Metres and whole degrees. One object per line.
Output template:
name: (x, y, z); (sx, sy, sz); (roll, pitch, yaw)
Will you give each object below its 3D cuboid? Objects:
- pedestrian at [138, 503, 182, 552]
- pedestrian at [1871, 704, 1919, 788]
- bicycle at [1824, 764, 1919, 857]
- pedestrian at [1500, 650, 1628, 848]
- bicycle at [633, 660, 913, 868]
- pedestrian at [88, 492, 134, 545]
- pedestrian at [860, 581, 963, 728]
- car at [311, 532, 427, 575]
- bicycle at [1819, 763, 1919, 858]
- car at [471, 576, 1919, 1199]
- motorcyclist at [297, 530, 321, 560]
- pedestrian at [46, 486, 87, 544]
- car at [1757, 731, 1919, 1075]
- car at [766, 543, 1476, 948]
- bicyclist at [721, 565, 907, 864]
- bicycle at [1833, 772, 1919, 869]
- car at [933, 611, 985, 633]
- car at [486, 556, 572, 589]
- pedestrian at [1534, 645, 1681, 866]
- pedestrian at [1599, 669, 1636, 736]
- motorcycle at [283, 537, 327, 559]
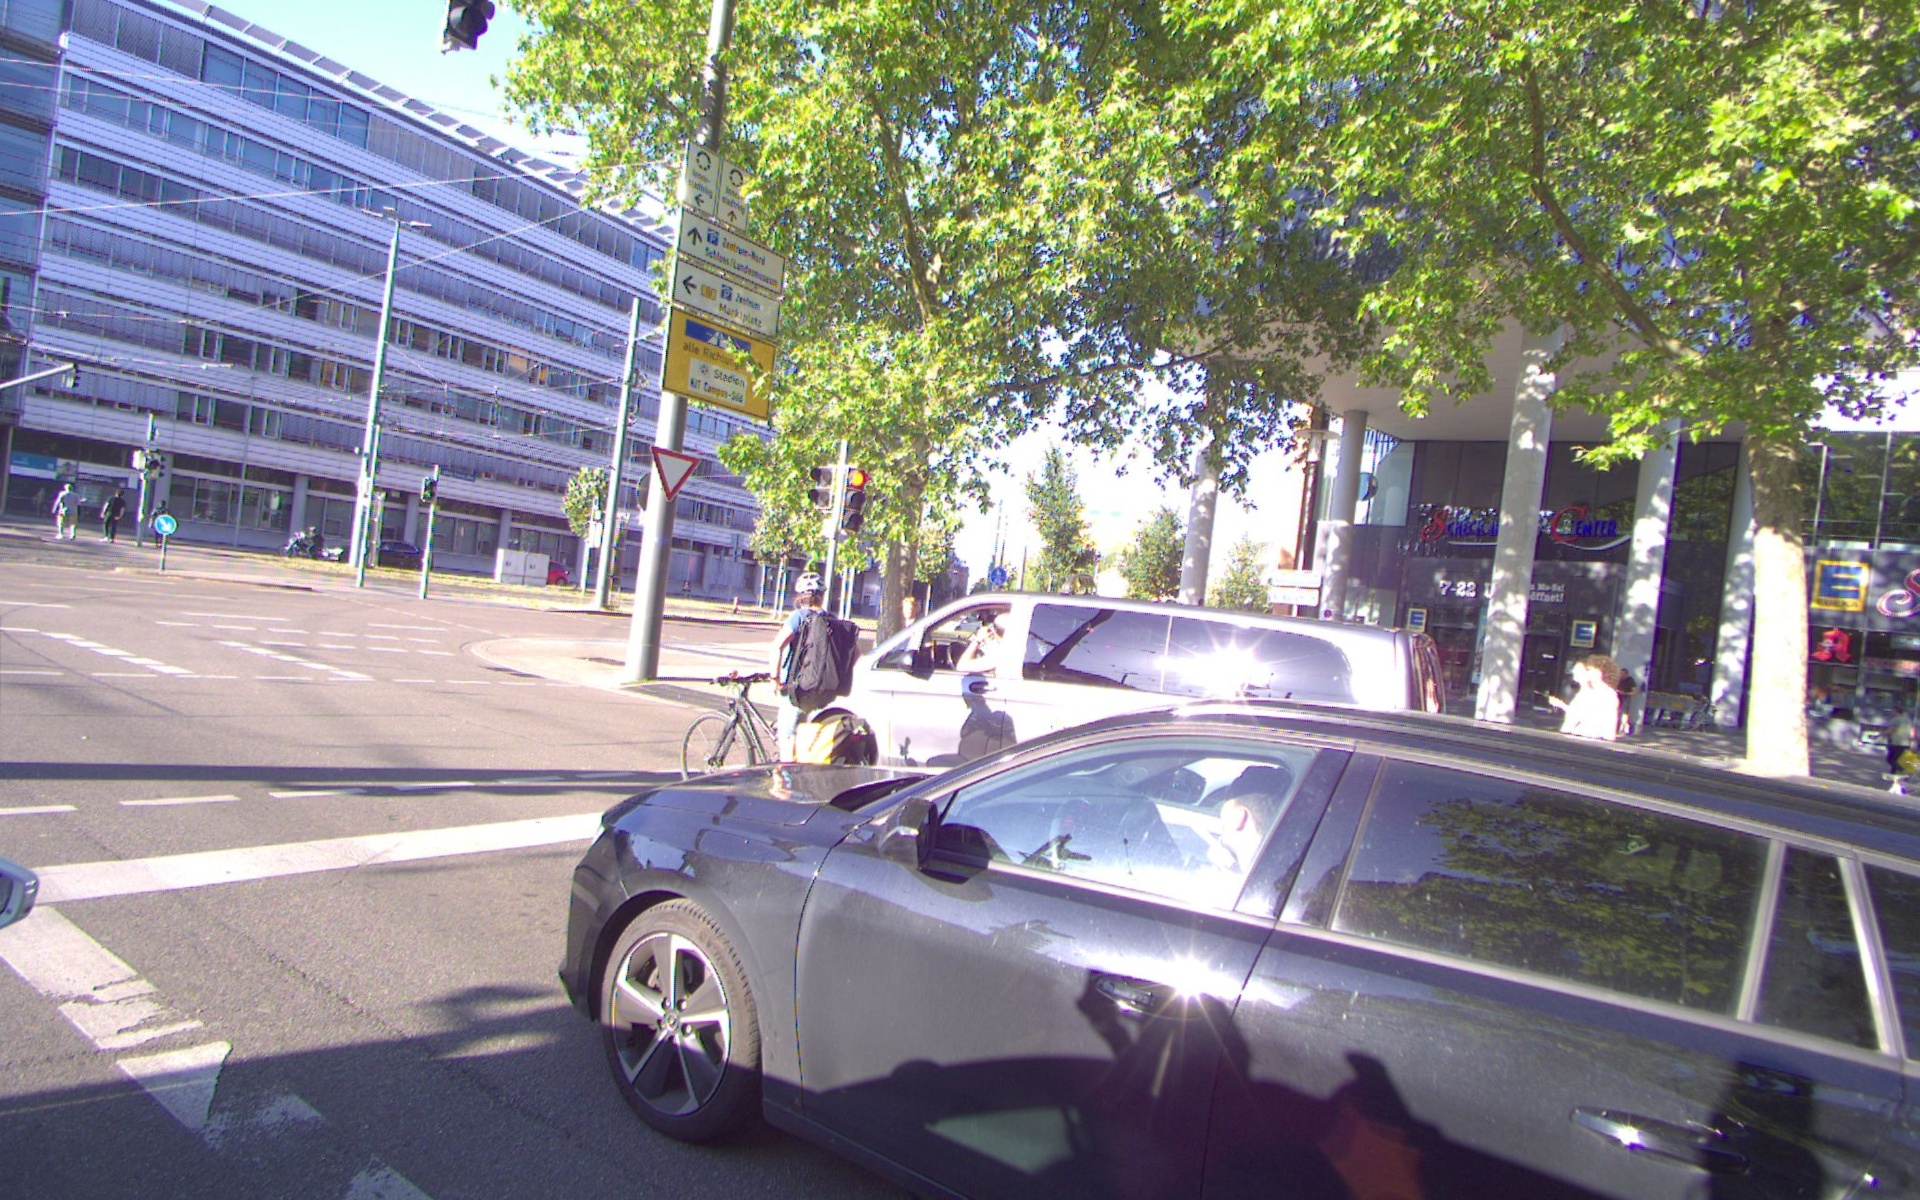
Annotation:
pedestrian: (-28.417, -2.587, 35.739); (0.883, 1.583, 0.947); (7, 1, 39)
pedestrian: (20.974, 3.239, 22.298); (0.704, 1.728, 0.806); (7, 1, 16)
bicycle: (11.495, 2.605, 12.356); (0.460, 0.938, 1.210); (6, 0, -39)
pedestrian: (5.976, 1.439, 10.000); (0.750, 1.799, 0.649); (7, 1, 15)
bicycle: (-1.277, 1.017, 6.667); (1.839, 0.993, 0.561); (7, 1, 32)
pedestrian: (-29.609, -2.836, 35.086); (1.020, 1.706, 0.912); (7, 1, 39)
pedestrian: (-0.615, 0.716, 13.163); (0.729, 1.769, 1.092); (7, 0, 24)
car: (-26.980, -2.105, 46.058); (1.758, 1.415, 4.157); (7, 0, 37)
bicycle: (11.198, 2.542, 12.084); (0.437, 0.930, 1.210); (6, 0, -39)
car: (0.807, 0.930, 2.727); (4.199, 1.431, 1.742); (7, -2, 32)
motorcyclist: (-30.052, -2.541, 46.450); (0.452, 1.291, 0.712); (7, 1, 36)
pedestrian: (-29.979, -2.855, 33.761); (0.861, 1.811, 0.860); (6, 1, -45)
car: (6.517, 1.730, 4.585); (4.181, 1.503, 1.741); (7, 0, 31)
car: (1.102, 0.839, 7.951); (5.012, 2.004, 1.939); (7, 0, 31)
bicyclist: (-0.923, 0.692, 6.389); (0.766, 1.714, 0.632); (7, 1, 32)
bicycle: (10.539, 2.476, 11.097); (1.233, 0.898, 0.462); (7, 1, 32)
car: (-0.053, 1.799, 82.078); (1.758, 1.353, 4.605); (7, 0, 37)
car: (-23.718, -1.494, 55.464); (1.758, 1.411, 3.984); (7, 1, 37)
pedestrian: (5.967, 1.395, 9.319); (0.798, 1.868, 0.644); (7, 1, 16)
pedestrian: (17.502, 2.732, 26.771); (0.598, 1.707, 0.511); (6, 1, -41)
motorcycle: (-30.154, -2.395, 46.321); (0.460, 0.820, 1.568); (7, 0, 36)
